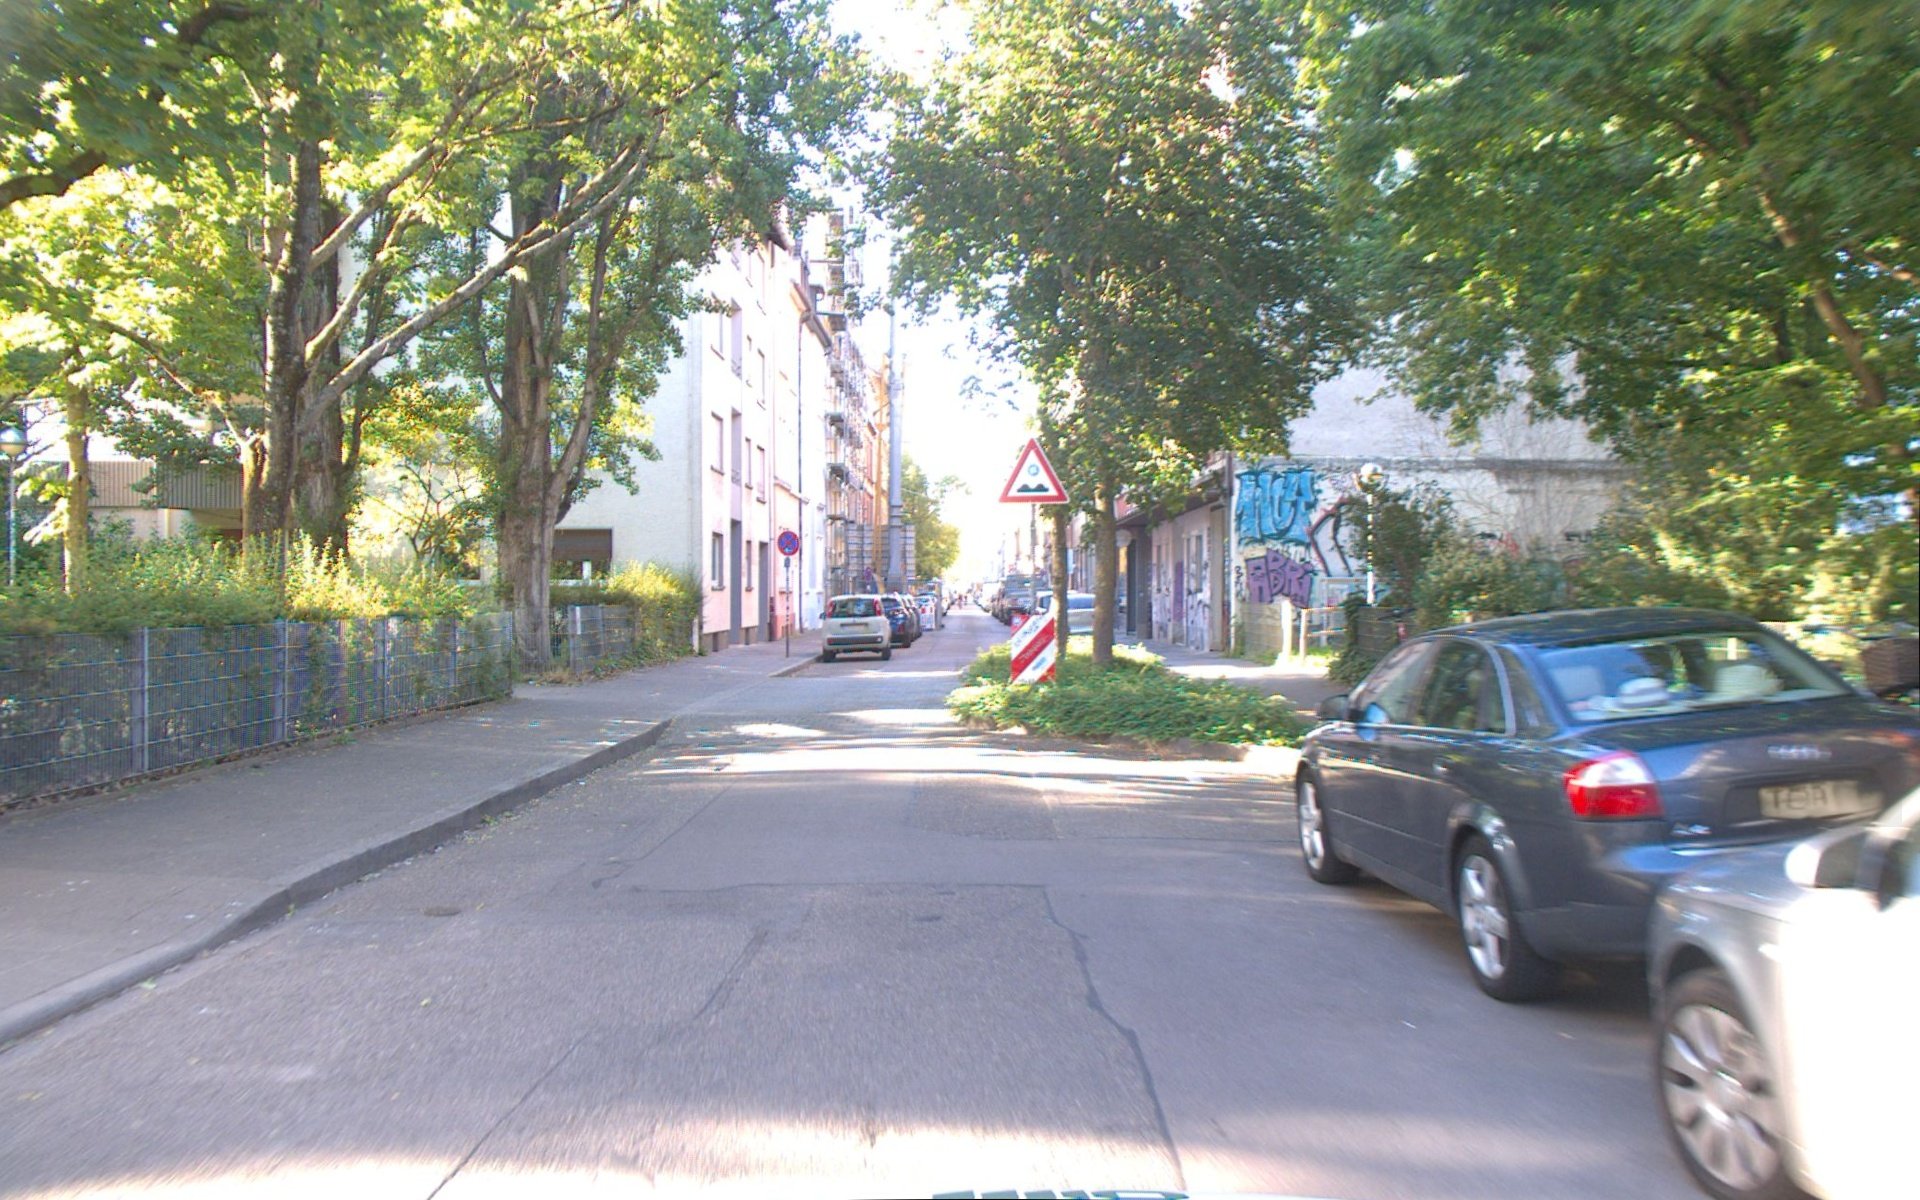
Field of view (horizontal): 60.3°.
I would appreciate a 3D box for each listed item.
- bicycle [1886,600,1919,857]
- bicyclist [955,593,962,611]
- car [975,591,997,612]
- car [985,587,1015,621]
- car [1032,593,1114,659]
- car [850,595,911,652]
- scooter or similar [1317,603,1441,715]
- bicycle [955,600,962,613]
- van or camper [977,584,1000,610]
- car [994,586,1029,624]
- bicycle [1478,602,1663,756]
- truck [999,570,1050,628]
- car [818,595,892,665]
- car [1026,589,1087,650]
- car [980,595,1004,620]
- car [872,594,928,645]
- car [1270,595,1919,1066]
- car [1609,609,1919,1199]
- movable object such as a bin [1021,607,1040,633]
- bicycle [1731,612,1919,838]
[{"bbox_3d":[5.542,0.646,7.634,1.264,1.324,2.327,-3,0,3],"label":"bicycle"},{"bbox_3d":[-0.135,0.215,164.521,0.715,1.792,0.835,0,1,0],"label":"bicyclist"},{"bbox_3d":[2.465,0.128,156.562,1.953,1.881,3.999,-2,0,-1],"label":"car"},{"bbox_3d":[2.506,0.274,104.163,1.641,2.066,3.867,-1,0,-2],"label":"car"},{"bbox_3d":[2.809,0.629,41.905,1.686,1.589,4.397,-1,0,-1],"label":"car"},{"bbox_3d":[-2.336,0.679,49.167,1.694,1.566,4.376,-2,0,-2],"label":"car"},{"bbox_3d":[5.013,0.692,19.845,0.539,1.284,1.458,-2,0,-30],"label":"scooter or similar"},{"bbox_3d":[-0.139,0.619,164.430,0.709,1.207,2.042,0,1,0],"label":"bicycle"},{"bbox_3d":[2.910,-0.305,170.723,1.954,2.552,4.199,-2,0,-4],"label":"van or camper"},{"bbox_3d":[2.827,0.269,91.685,1.641,1.997,4.107,-1,0,-2],"label":"car"},{"bbox_3d":[5.748,0.690,15.774,0.829,1.290,2.693,-1,1,2],"label":"bicycle"},{"bbox_3d":[3.144,-0.050,81.184,2.145,2.652,5.233,-2,0,-1],"label":"truck"},{"bbox_3d":[-2.511,0.701,40.339,1.641,1.566,3.867,-2,0,-2],"label":"car"},{"bbox_3d":[2.787,0.548,48.322,1.606,1.685,3.869,-1,0,1],"label":"car"},{"bbox_3d":[2.735,0.647,142.152,1.953,2.049,3.999,-1,0,-1],"label":"car"},{"bbox_3d":[-1.915,0.606,54.014,1.640,1.538,4.414,-2,0,0],"label":"car"},{"bbox_3d":[2.809,0.770,7.806,1.686,1.520,4.412,-2,0,-2],"label":"car"},{"bbox_3d":[2.720,0.791,2.701,1.625,1.520,4.353,-1,0,0],"label":"car"},{"bbox_3d":[2.944,0.832,68.922,0.779,1.074,0.660,-1,0,0],"label":"movable object such as a bin"},{"bbox_3d":[5.646,0.710,10.278,0.829,1.221,1.982,-1,1,2],"label":"bicycle"}]
